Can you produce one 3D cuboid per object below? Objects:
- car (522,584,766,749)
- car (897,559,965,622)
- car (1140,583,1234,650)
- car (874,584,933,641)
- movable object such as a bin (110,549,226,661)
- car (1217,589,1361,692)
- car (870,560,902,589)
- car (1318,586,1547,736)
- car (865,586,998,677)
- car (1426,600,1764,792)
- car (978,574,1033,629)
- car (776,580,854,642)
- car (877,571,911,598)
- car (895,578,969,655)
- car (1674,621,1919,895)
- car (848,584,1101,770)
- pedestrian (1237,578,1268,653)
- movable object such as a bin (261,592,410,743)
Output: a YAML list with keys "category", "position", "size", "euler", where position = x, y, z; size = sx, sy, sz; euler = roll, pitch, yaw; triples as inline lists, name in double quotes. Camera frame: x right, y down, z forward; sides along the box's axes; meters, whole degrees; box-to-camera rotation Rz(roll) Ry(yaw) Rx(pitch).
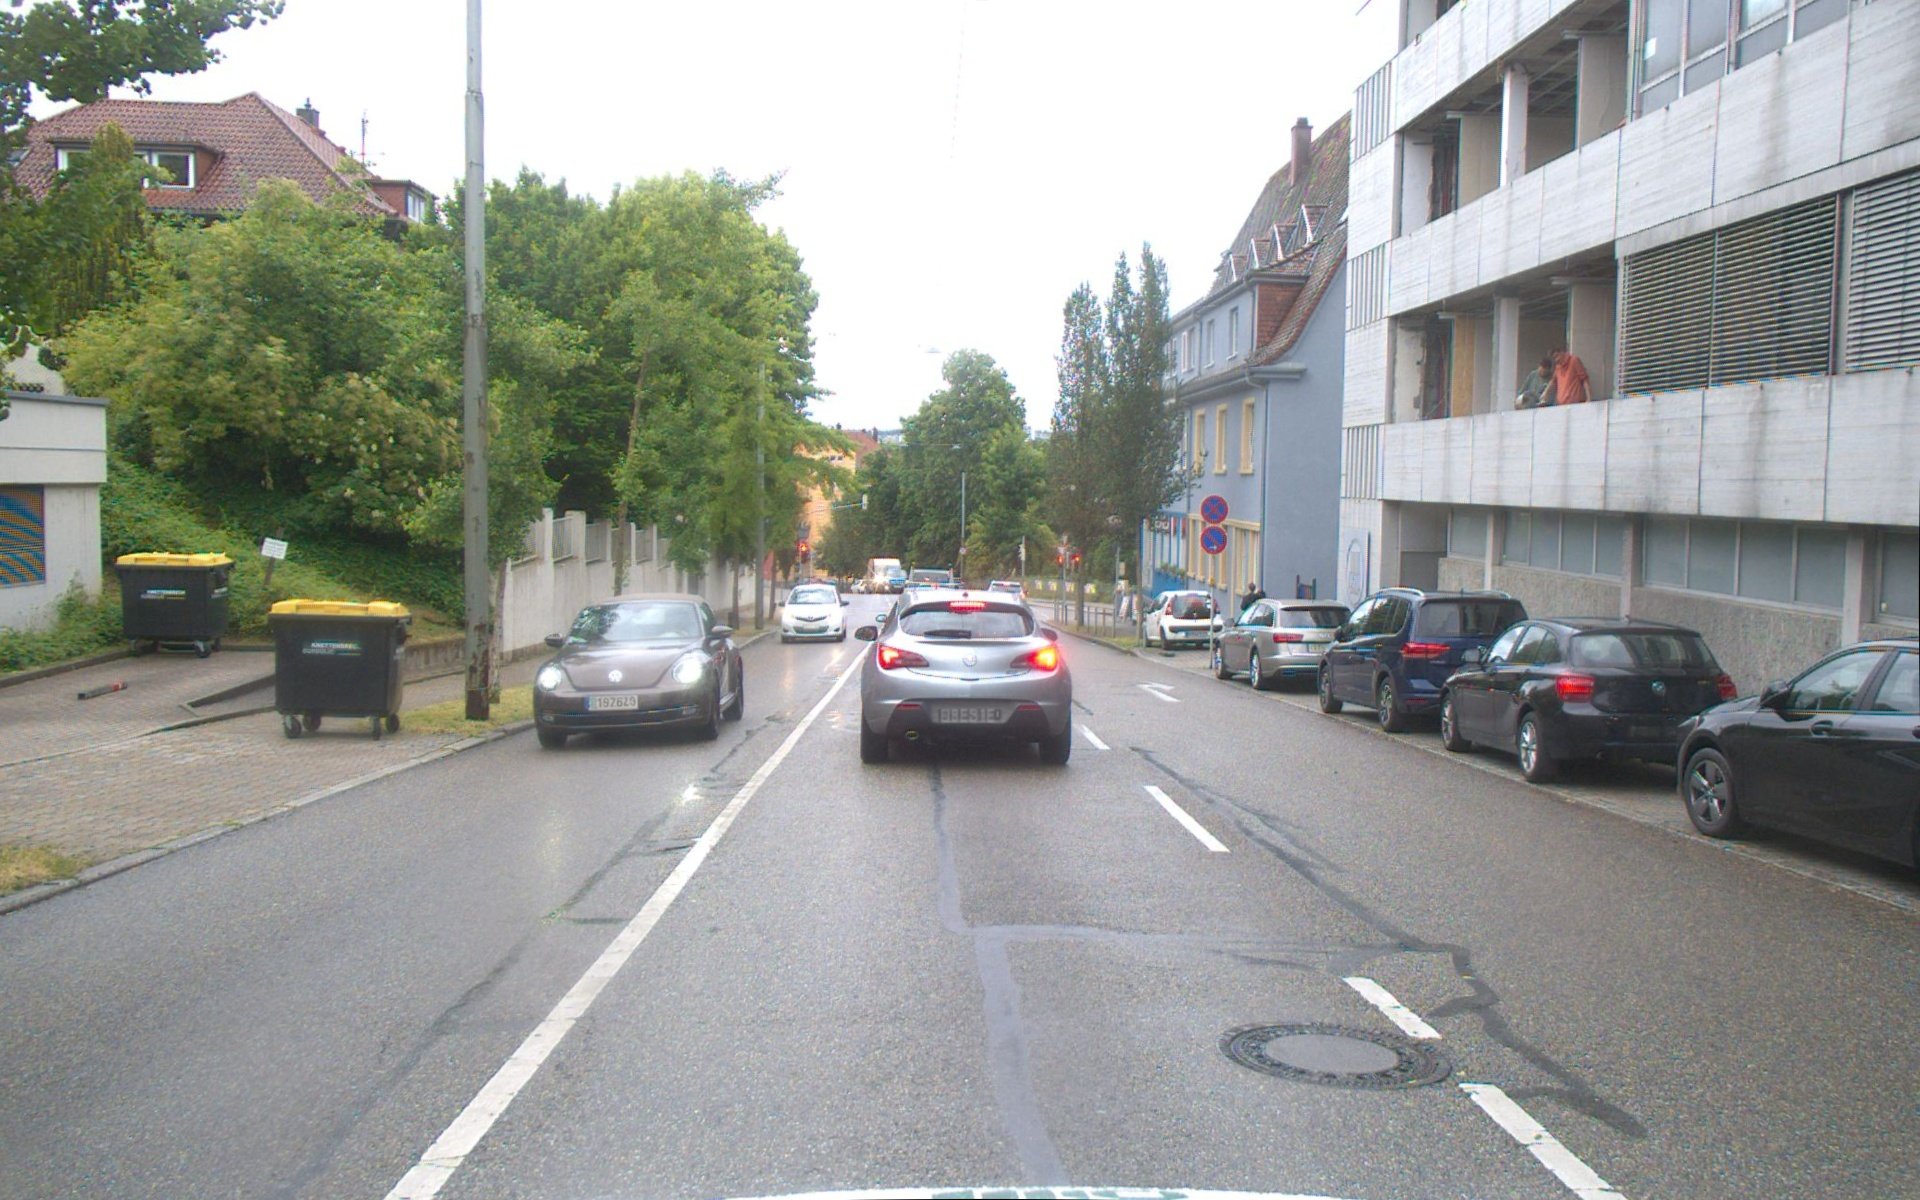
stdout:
- category: "car"
  position: [-3.240, 0.618, 17.757]
  size: [1.812, 1.495, 4.087]
  euler: [-2, 0, -1]
- category: "car"
  position: [-1.074, -0.404, 61.028]
  size: [2.287, 2.071, 4.734]
  euler: [4, 1, -1]
- category: "car"
  position: [5.825, 0.379, 42.829]
  size: [1.867, 1.598, 4.000]
  euler: [0, 1, -1]
- category: "car"
  position: [-1.872, 0.377, 53.817]
  size: [1.719, 1.679, 3.998]
  euler: [4, 0, -3]
- category: "movable object such as a bin"
  position: [-10.407, 0.055, 21.752]
  size: [1.247, 1.411, 0.488]
  euler: [2, 1, -4]
- category: "car"
  position: [5.469, 0.619, 27.982]
  size: [1.552, 1.519, 4.290]
  euler: [0, 1, 0]
- category: "car"
  position: [-5.036, -1.776, 113.650]
  size: [1.953, 1.815, 4.000]
  euler: [4, 1, -1]
- category: "car"
  position: [5.698, 0.664, 20.431]
  size: [1.651, 1.598, 4.000]
  euler: [0, 1, -1]
- category: "car"
  position: [-0.546, 0.480, 27.256]
  size: [1.763, 1.346, 3.994]
  euler: [2, 0, -7]
- category: "car"
  position: [5.831, 0.796, 15.723]
  size: [1.647, 1.489, 4.000]
  euler: [0, 1, -1]
- category: "car"
  position: [1.875, 0.025, 69.704]
  size: [1.953, 2.071, 4.734]
  euler: [4, 1, -1]
- category: "car"
  position: [-3.938, 0.258, 45.413]
  size: [1.786, 1.504, 3.863]
  euler: [-3, 1, -1]
- category: "car"
  position: [-4.258, -1.032, 107.197]
  size: [1.953, 1.562, 4.308]
  euler: [4, 1, -1]
- category: "car"
  position: [-0.800, 0.406, 44.677]
  size: [1.734, 1.811, 3.974]
  euler: [4, 1, -3]
- category: "car"
  position: [5.987, 0.892, 9.992]
  size: [1.473, 1.460, 3.998]
  euler: [0, 0, -3]
- category: "car"
  position: [-0.007, 0.605, 15.192]
  size: [1.907, 1.457, 3.880]
  euler: [1, 0, -6]
- category: "pedestrian"
  position: [7.228, 0.374, 40.848]
  size: [0.632, 1.815, 0.542]
  euler: [1, 1, -1]
- category: "movable object such as a bin"
  position: [-6.165, 0.658, 16.347]
  size: [1.247, 1.411, 0.488]
  euler: [2, 1, -4]
